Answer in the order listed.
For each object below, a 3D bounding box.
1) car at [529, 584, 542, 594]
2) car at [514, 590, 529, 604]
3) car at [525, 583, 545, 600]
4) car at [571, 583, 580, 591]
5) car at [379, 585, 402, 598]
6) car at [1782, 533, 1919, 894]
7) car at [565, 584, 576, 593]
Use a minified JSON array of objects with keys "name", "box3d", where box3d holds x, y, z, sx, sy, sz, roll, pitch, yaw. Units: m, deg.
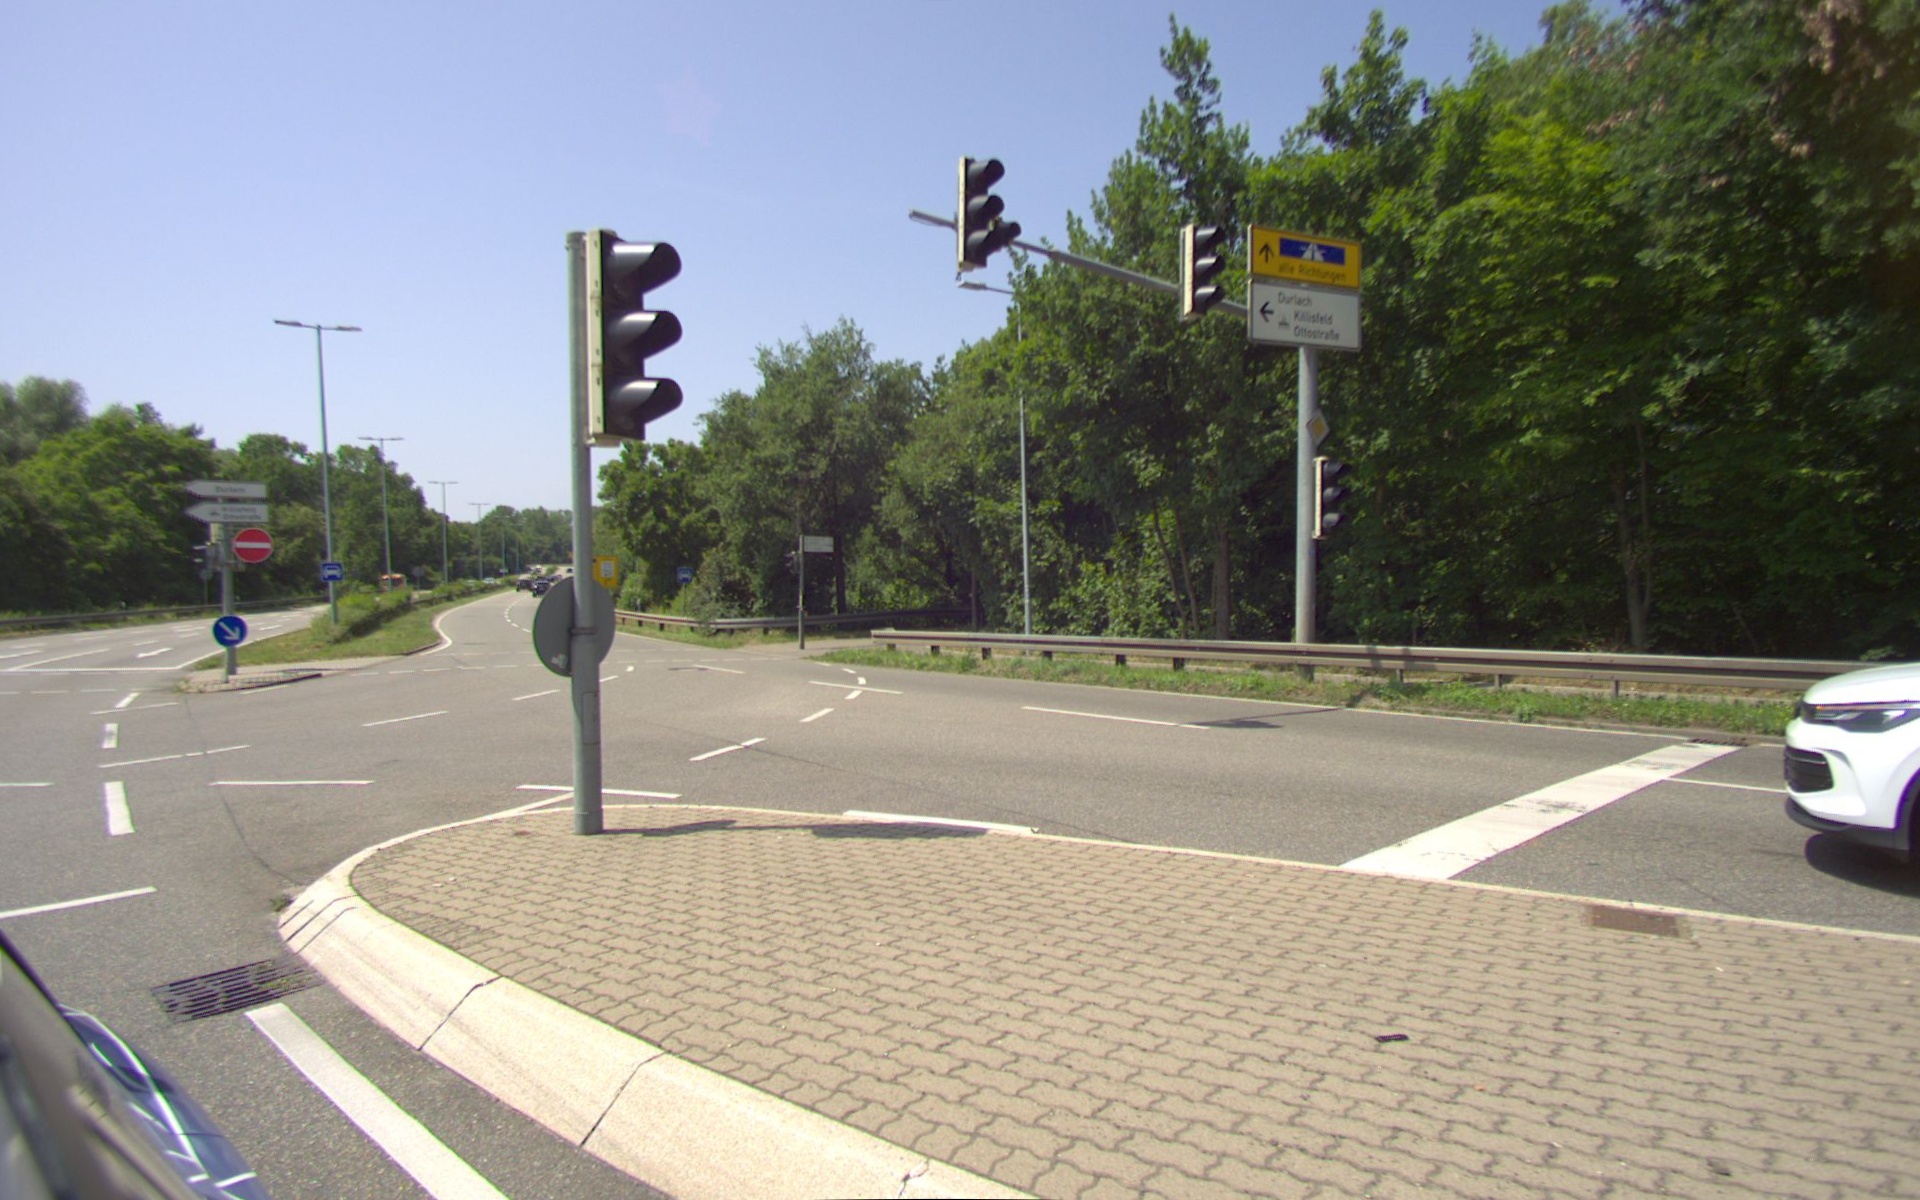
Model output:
[{"name":"car","box3d":[-68.216,-1.773,162.573,1.751,1.514,3.591,-2,1,-21]},{"name":"car","box3d":[-55.114,-0.431,127.250,1.710,1.701,3.836,-2,1,-23]},{"name":"car","box3d":[-43.799,-0.908,104.297,1.683,1.638,4.013,-2,1,-26]},{"name":"car","box3d":[-93.718,-3.150,246.606,1.966,2.029,4.013,-2,1,-19]},{"name":"car","box3d":[-68.549,-1.045,121.925,1.815,1.441,3.589,-2,1,-19]},{"name":"car","box3d":[6.339,0.503,4.139,4.576,1.651,1.809,0,0,41]},{"name":"car","box3d":[-70.959,-2.126,184.159,1.751,1.514,3.591,-2,1,-20]}]
